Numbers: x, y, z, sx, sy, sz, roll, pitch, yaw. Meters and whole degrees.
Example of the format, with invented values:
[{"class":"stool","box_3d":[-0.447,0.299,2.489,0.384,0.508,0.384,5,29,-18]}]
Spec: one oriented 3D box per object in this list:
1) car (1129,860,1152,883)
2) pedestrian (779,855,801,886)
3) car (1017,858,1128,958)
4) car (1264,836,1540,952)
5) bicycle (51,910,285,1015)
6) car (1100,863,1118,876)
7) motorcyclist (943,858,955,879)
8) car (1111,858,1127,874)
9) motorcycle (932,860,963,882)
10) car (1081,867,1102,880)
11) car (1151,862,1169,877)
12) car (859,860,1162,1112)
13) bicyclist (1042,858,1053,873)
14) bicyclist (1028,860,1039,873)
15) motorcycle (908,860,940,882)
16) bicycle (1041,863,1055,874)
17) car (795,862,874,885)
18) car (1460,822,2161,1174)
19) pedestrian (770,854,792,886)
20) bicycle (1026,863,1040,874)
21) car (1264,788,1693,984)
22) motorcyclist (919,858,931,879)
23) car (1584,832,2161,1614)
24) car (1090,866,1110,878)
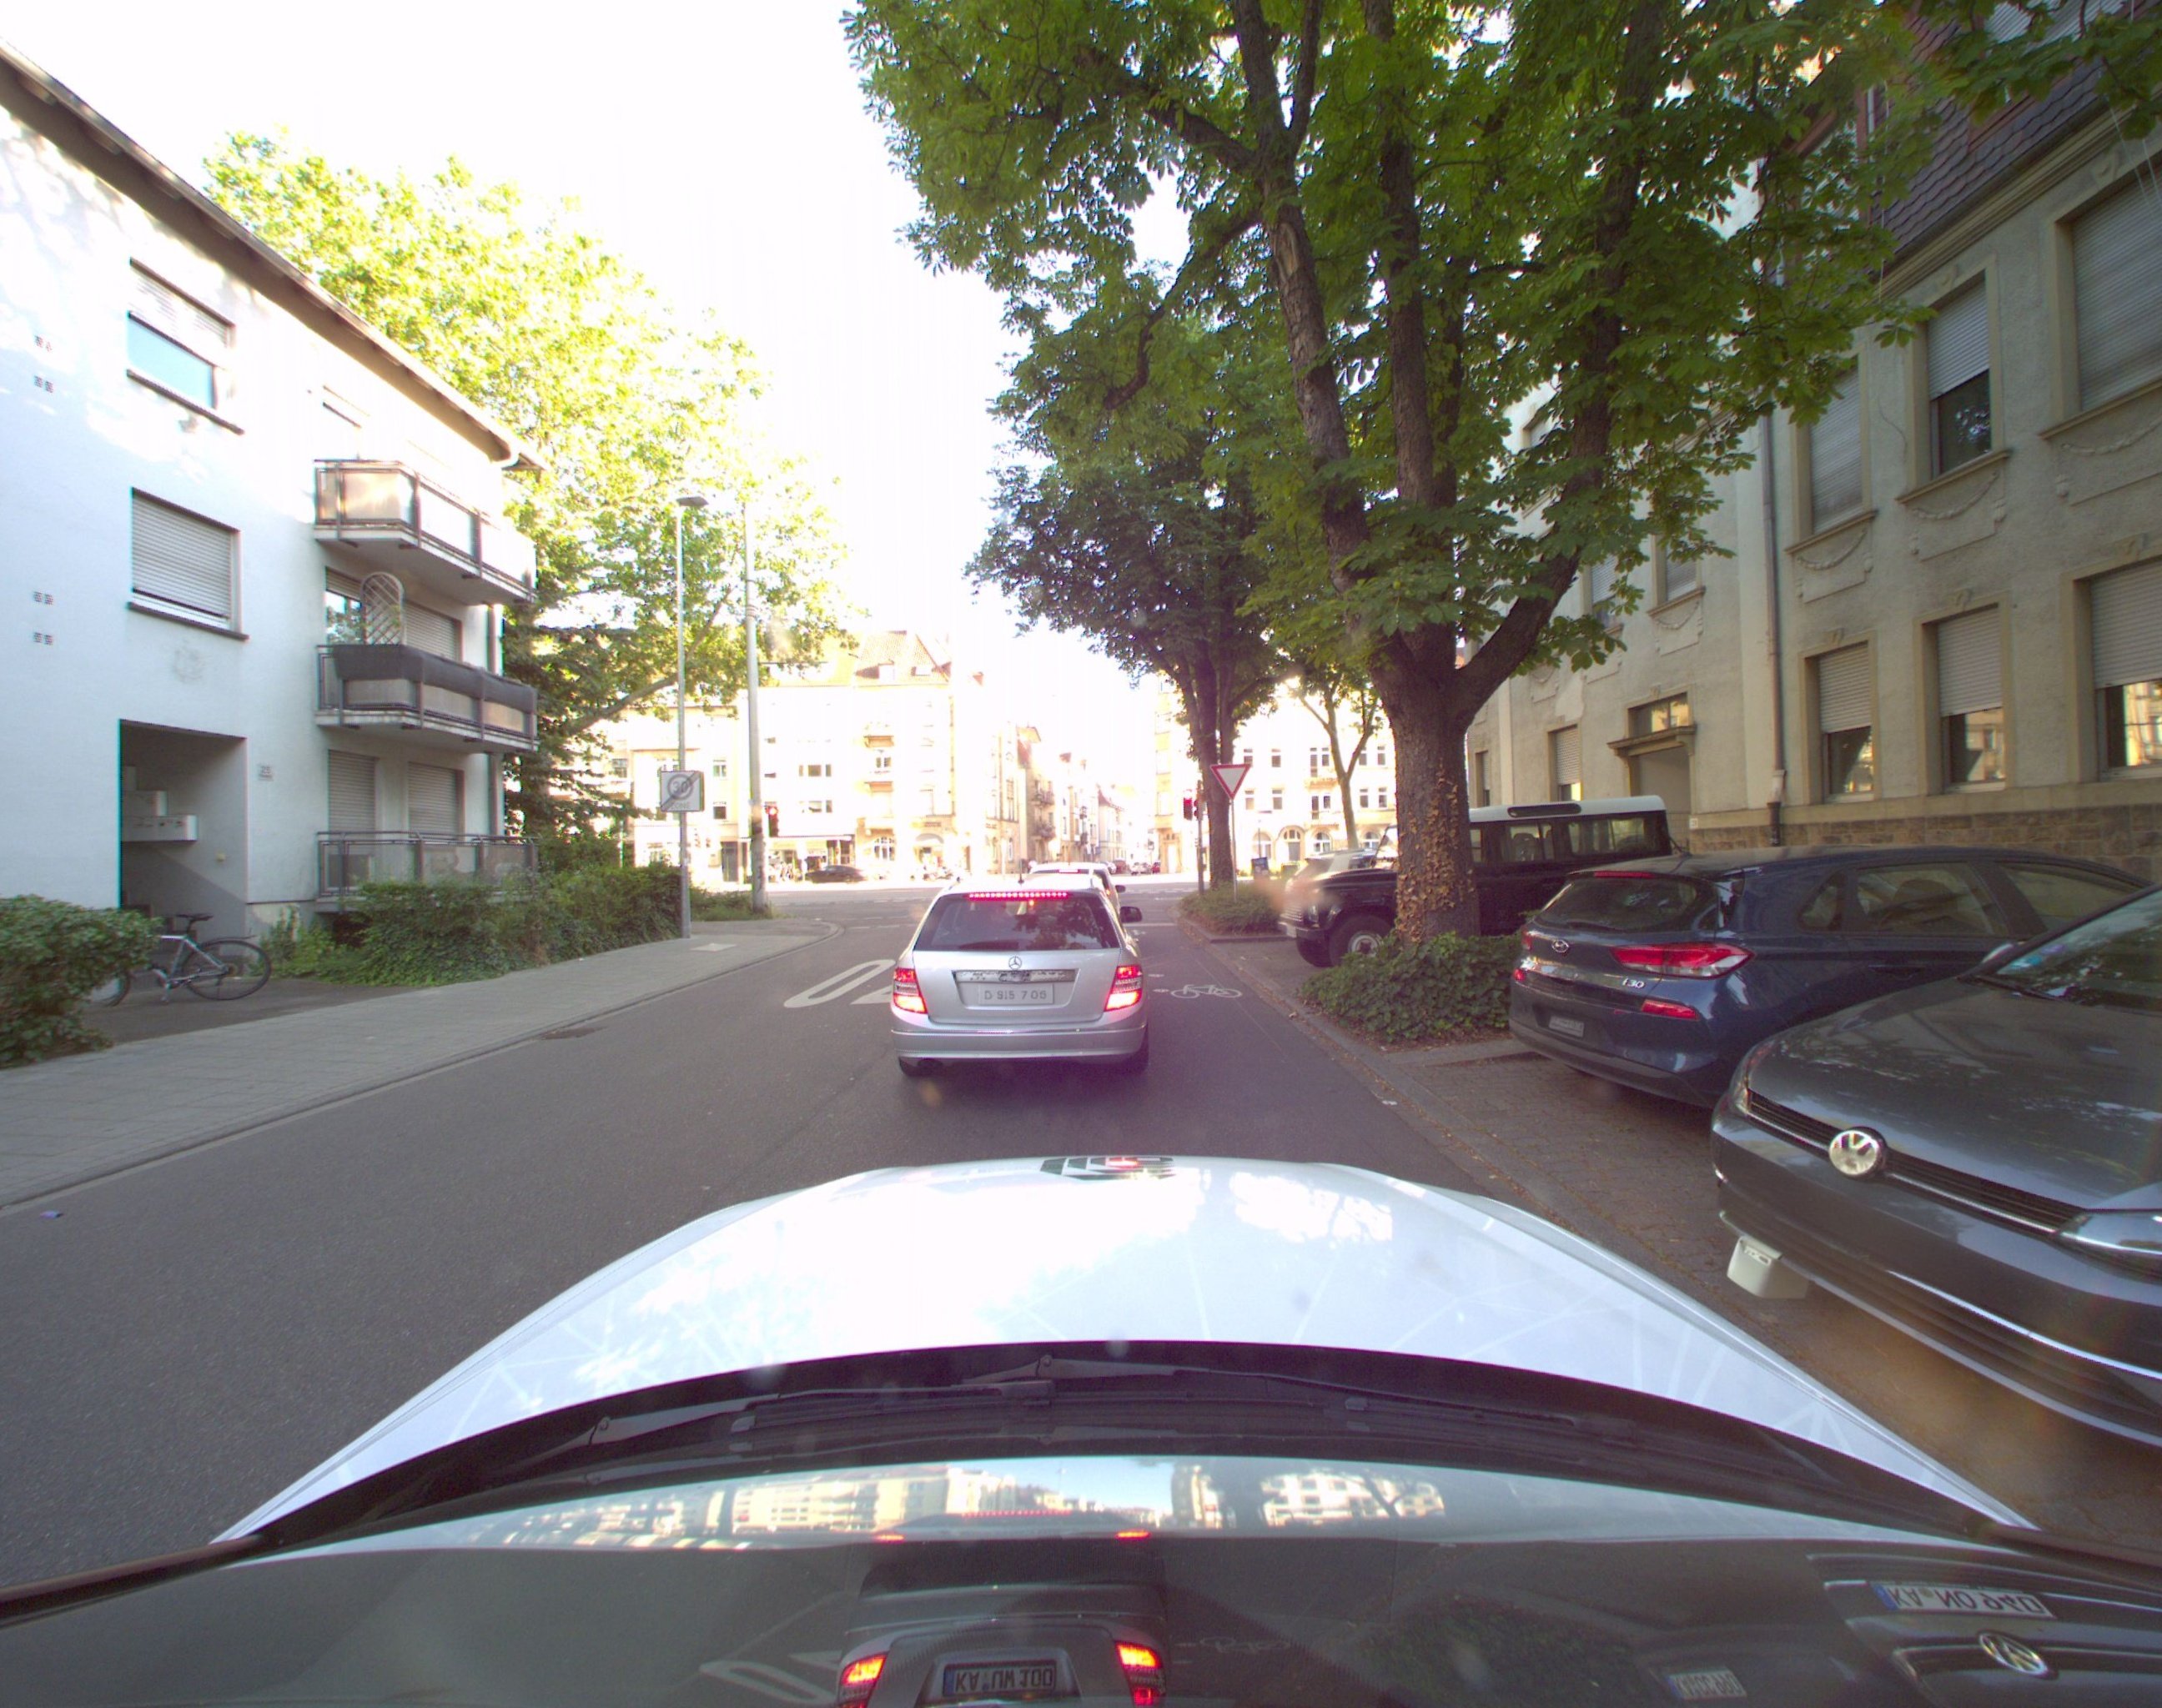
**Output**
[{"class":"car","box_3d":[6.309,1.813,85.903,2.018,2.279,4.012,-1,0,10]},{"class":"pedestrian","box_3d":[-23.390,1.292,65.472,1.343,2.464,1.059,-1,0,-3]},{"class":"car","box_3d":[-0.110,0.807,14.173,1.614,1.447,4.344,-1,0,0]},{"class":"car","box_3d":[5.028,0.610,13.091,3.714,1.570,1.707,-3,-1,-2]},{"class":"bicycle","box_3d":[-9.997,1.159,9.010,1.630,1.008,0.511,2,-2,-39]},{"class":"car","box_3d":[3.713,2.066,108.842,1.824,1.663,4.012,-1,0,10]},{"class":"motorcyclist","box_3d":[-9.337,1.031,57.565,0.679,1.452,0.568,-2,0,-2]},{"class":"car","box_3d":[5.487,1.718,117.401,1.776,2.204,4.012,-1,0,10]},{"class":"motorcycle","box_3d":[-9.444,1.192,57.565,2.028,1.452,0.568,-2,0,-3]},{"class":"car","box_3d":[1.330,2.301,97.166,1.824,1.402,4.012,-1,0,10]},{"class":"car","box_3d":[9.881,1.905,101.859,1.824,1.744,4.012,-1,0,10]},{"class":"car","box_3d":[-0.405,0.790,7.085,1.771,1.452,4.547,-1,0,0]},{"class":"bicyclist","box_3d":[-3.004,1.025,73.707,0.765,1.290,0.755,-1,0,13]},{"class":"bicyclist","box_3d":[-4.304,1.114,73.728,0.765,1.156,0.755,-1,0,13]},{"class":"motorcycle","box_3d":[-10.755,1.162,55.933,2.028,1.452,0.568,-2,0,-3]},{"class":"bicycle","box_3d":[-2.999,1.319,73.705,0.765,0.934,1.947,-1,0,13]},{"class":"car","box_3d":[-17.026,1.320,56.329,4.871,1.452,1.857,-1,0,-2]},{"class":"car","box_3d":[4.394,0.626,4.557,3.714,1.452,1.707,-3,-1,-2]},{"class":"pedestrian","box_3d":[-23.656,1.271,64.289,1.343,2.464,1.059,-1,0,-3]},{"class":"bicycle","box_3d":[-4.321,1.336,73.649,0.765,0.940,1.947,-1,0,13]},{"class":"car","box_3d":[4.738,0.360,10.131,4.453,2.036,1.700,-3,-1,-2]},{"class":"motorcyclist","box_3d":[-10.695,1.007,55.938,0.679,1.452,0.568,-2,0,-2]},{"class":"car","box_3d":[4.029,0.642,2.385,4.042,1.452,1.722,-3,-1,-2]},{"class":"car","box_3d":[2.401,2.254,102.635,1.824,1.402,4.012,-1,0,10]}]
